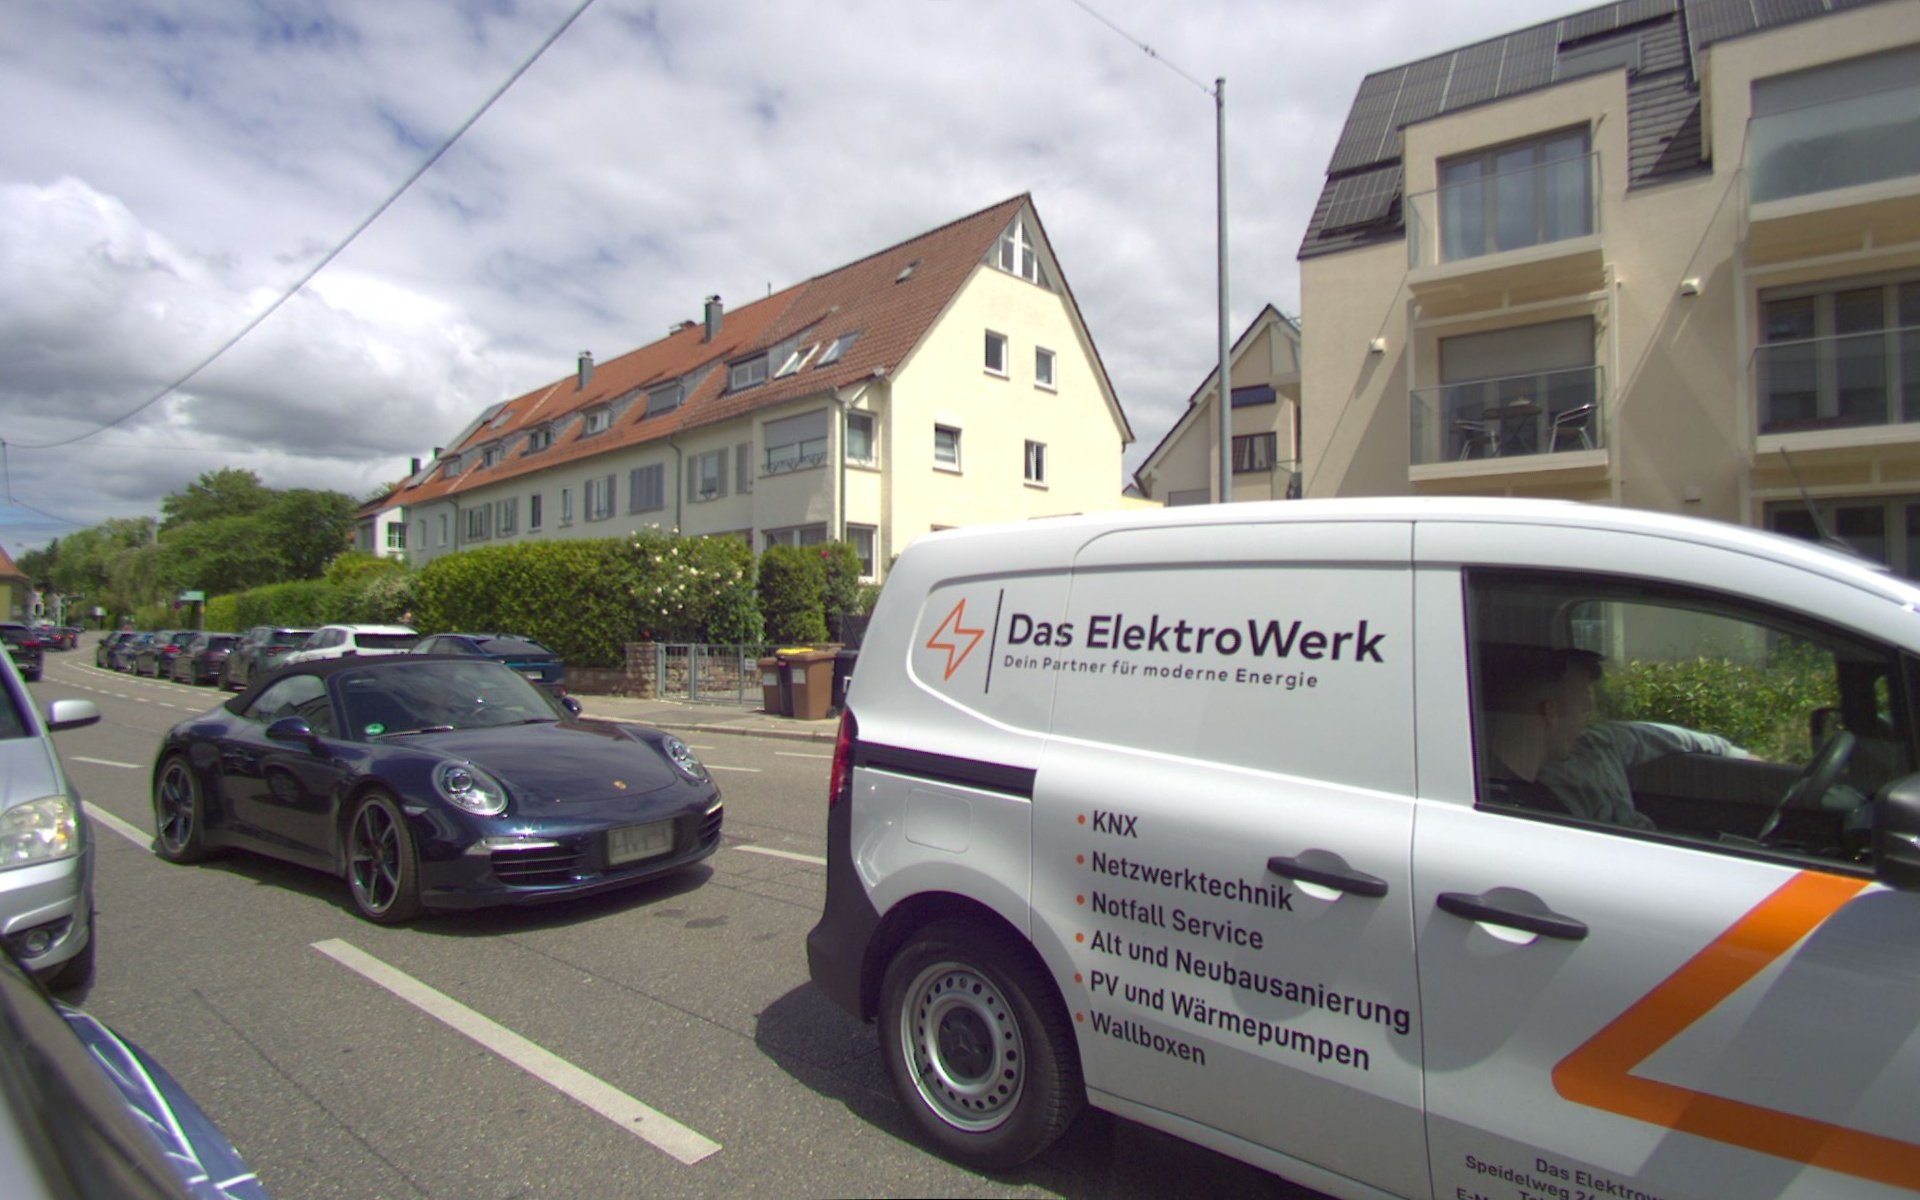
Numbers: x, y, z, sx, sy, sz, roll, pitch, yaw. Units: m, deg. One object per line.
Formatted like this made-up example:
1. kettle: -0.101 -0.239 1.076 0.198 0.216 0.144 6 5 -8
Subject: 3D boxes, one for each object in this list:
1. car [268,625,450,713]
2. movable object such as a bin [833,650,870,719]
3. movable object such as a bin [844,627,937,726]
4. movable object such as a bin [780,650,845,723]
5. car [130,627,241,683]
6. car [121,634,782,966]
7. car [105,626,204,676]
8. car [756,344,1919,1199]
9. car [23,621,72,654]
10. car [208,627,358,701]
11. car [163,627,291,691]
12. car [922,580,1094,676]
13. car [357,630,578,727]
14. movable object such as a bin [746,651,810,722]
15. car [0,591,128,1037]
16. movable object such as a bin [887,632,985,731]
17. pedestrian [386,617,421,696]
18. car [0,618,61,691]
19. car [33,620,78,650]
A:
1. car: -12.686 1.358 21.248 4.450 1.645 1.973 -1 -2 41
2. movable object such as a bin: -1.740 1.354 16.315 0.516 1.073 0.656 0 -1 2
3. movable object such as a bin: -1.080 1.157 15.751 0.980 1.457 1.078 -2 -2 40
4. movable object such as a bin: -2.317 1.344 15.881 0.752 1.073 0.693 1 -2 -42
5. car: -24.658 1.695 32.186 4.234 1.645 1.973 -1 -2 41
6. car: -3.189 0.903 6.138 4.032 1.374 1.796 -1 -2 33
7. car: -28.516 1.759 35.785 4.234 1.645 1.973 -1 -2 41
8. car: 1.626 0.552 2.491 4.414 1.825 1.798 -1 -2 39
9. car: -56.083 2.293 62.261 1.968 1.929 4.077 1 -2 -39
10. car: -16.559 1.486 24.688 4.234 1.645 1.973 -1 -2 41
11. car: -20.589 1.605 28.375 4.234 1.645 1.973 -1 -3 41
12. car: 1.191 0.628 23.482 1.999 2.029 3.946 -1 -2 40
13. car: -8.858 1.306 18.052 4.447 1.513 1.796 -1 -2 38
14. movable object such as a bin: -2.929 1.374 16.291 0.752 1.073 0.693 1 -2 -42
15. car: -5.269 0.793 4.519 3.999 1.587 1.751 -2 -2 41
16. movable object such as a bin: -0.356 1.158 14.920 0.980 1.373 1.078 -2 -2 40
17. pedestrian: -13.028 1.315 23.690 0.511 1.829 0.526 -1 -2 36
18. car: -26.539 1.477 28.090 4.069 1.929 1.972 -2 -2 43
19. car: -60.663 2.348 67.916 1.968 1.929 4.077 1 -2 -39
